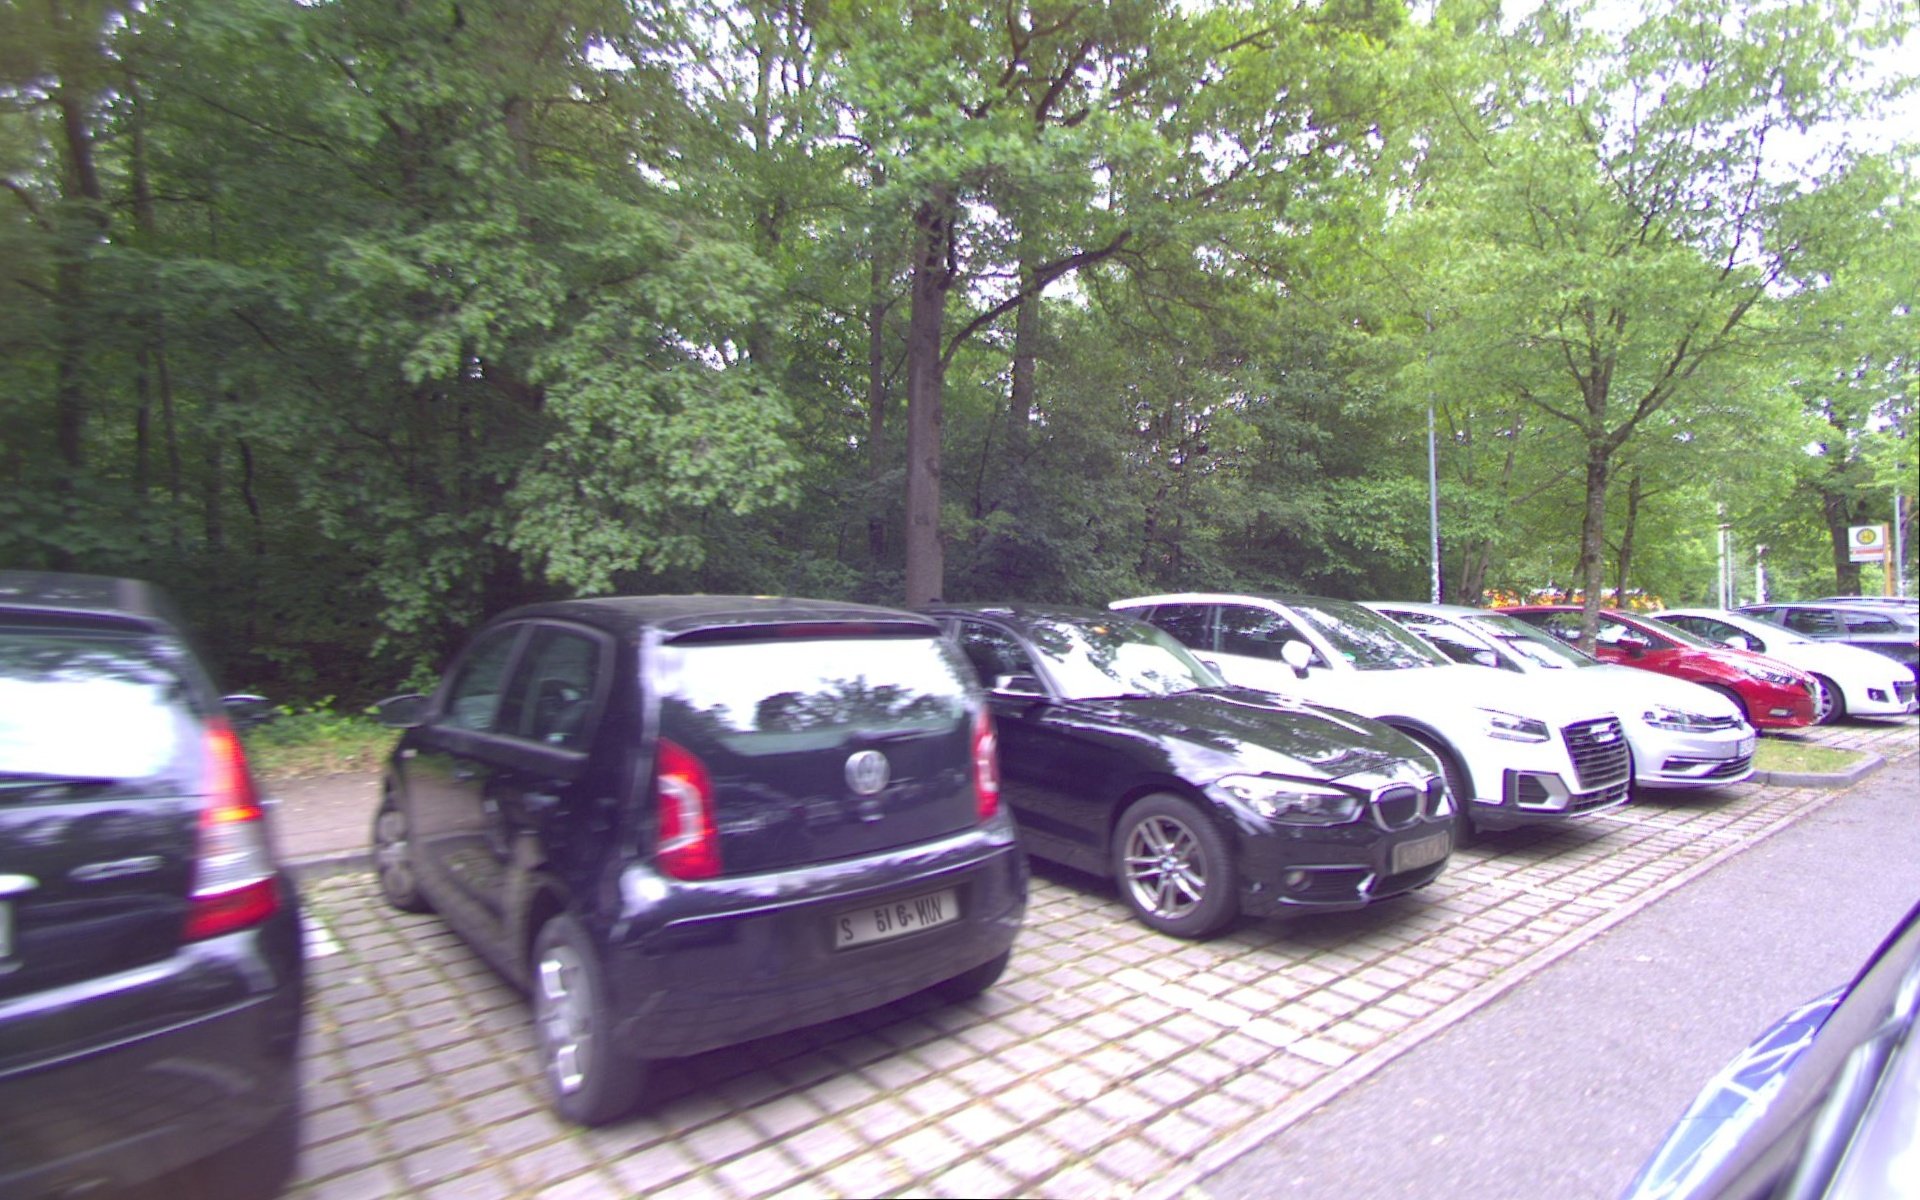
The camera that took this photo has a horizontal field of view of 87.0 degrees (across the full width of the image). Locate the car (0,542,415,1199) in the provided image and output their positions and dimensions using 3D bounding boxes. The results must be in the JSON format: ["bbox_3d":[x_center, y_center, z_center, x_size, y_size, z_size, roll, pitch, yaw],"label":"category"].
[{"bbox_3d":[-3.079,0.641,2.970,1.819,1.550,3.834,0,1,-41],"label":"car"}]

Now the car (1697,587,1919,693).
[{"bbox_3d":[14.812,0.613,16.787,1.912,1.610,3.780,1,-1,-34],"label":"car"}]

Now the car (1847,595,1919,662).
[{"bbox_3d":[22.493,0.639,22.365,1.903,1.468,4.001,0,0,-34],"label":"car"}]

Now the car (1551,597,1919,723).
[{"bbox_3d":[10.446,0.685,13.602,1.843,1.429,3.943,1,-1,-37],"label":"car"}]

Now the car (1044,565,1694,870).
[{"bbox_3d":[2.686,0.616,7.443,1.941,1.579,4.019,1,-1,-37],"label":"car"}]

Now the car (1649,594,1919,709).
[{"bbox_3d":[12.481,0.683,14.684,1.741,1.500,3.776,1,-1,-39],"label":"car"}]

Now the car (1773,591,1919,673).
[{"bbox_3d":[18.362,0.591,19.625,1.717,1.530,3.715,0,0,-33],"label":"car"}]

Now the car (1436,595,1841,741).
[{"bbox_3d":[8.008,0.684,12.148,3.795,1.459,1.840,0,-1,45],"label":"car"}]

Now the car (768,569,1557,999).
[{"bbox_3d":[0.799,0.662,5.819,1.860,1.531,4.193,1,-1,-41],"label":"car"}]

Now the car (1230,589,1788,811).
[{"bbox_3d":[4.635,0.684,8.995,1.851,1.503,3.982,1,-1,-41],"label":"car"}]

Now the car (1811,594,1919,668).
[{"bbox_3d":[20.404,0.633,20.766,1.828,1.480,4.143,0,1,-32],"label":"car"}]

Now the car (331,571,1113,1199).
[{"bbox_3d":[-1.377,0.637,4.363,1.777,1.475,3.835,0,1,-40],"label":"car"}]

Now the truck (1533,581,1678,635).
[{"bbox_3d":[45.316,0.540,71.353,2.811,3.559,8.253,2,-1,-31],"label":"truck"}]
